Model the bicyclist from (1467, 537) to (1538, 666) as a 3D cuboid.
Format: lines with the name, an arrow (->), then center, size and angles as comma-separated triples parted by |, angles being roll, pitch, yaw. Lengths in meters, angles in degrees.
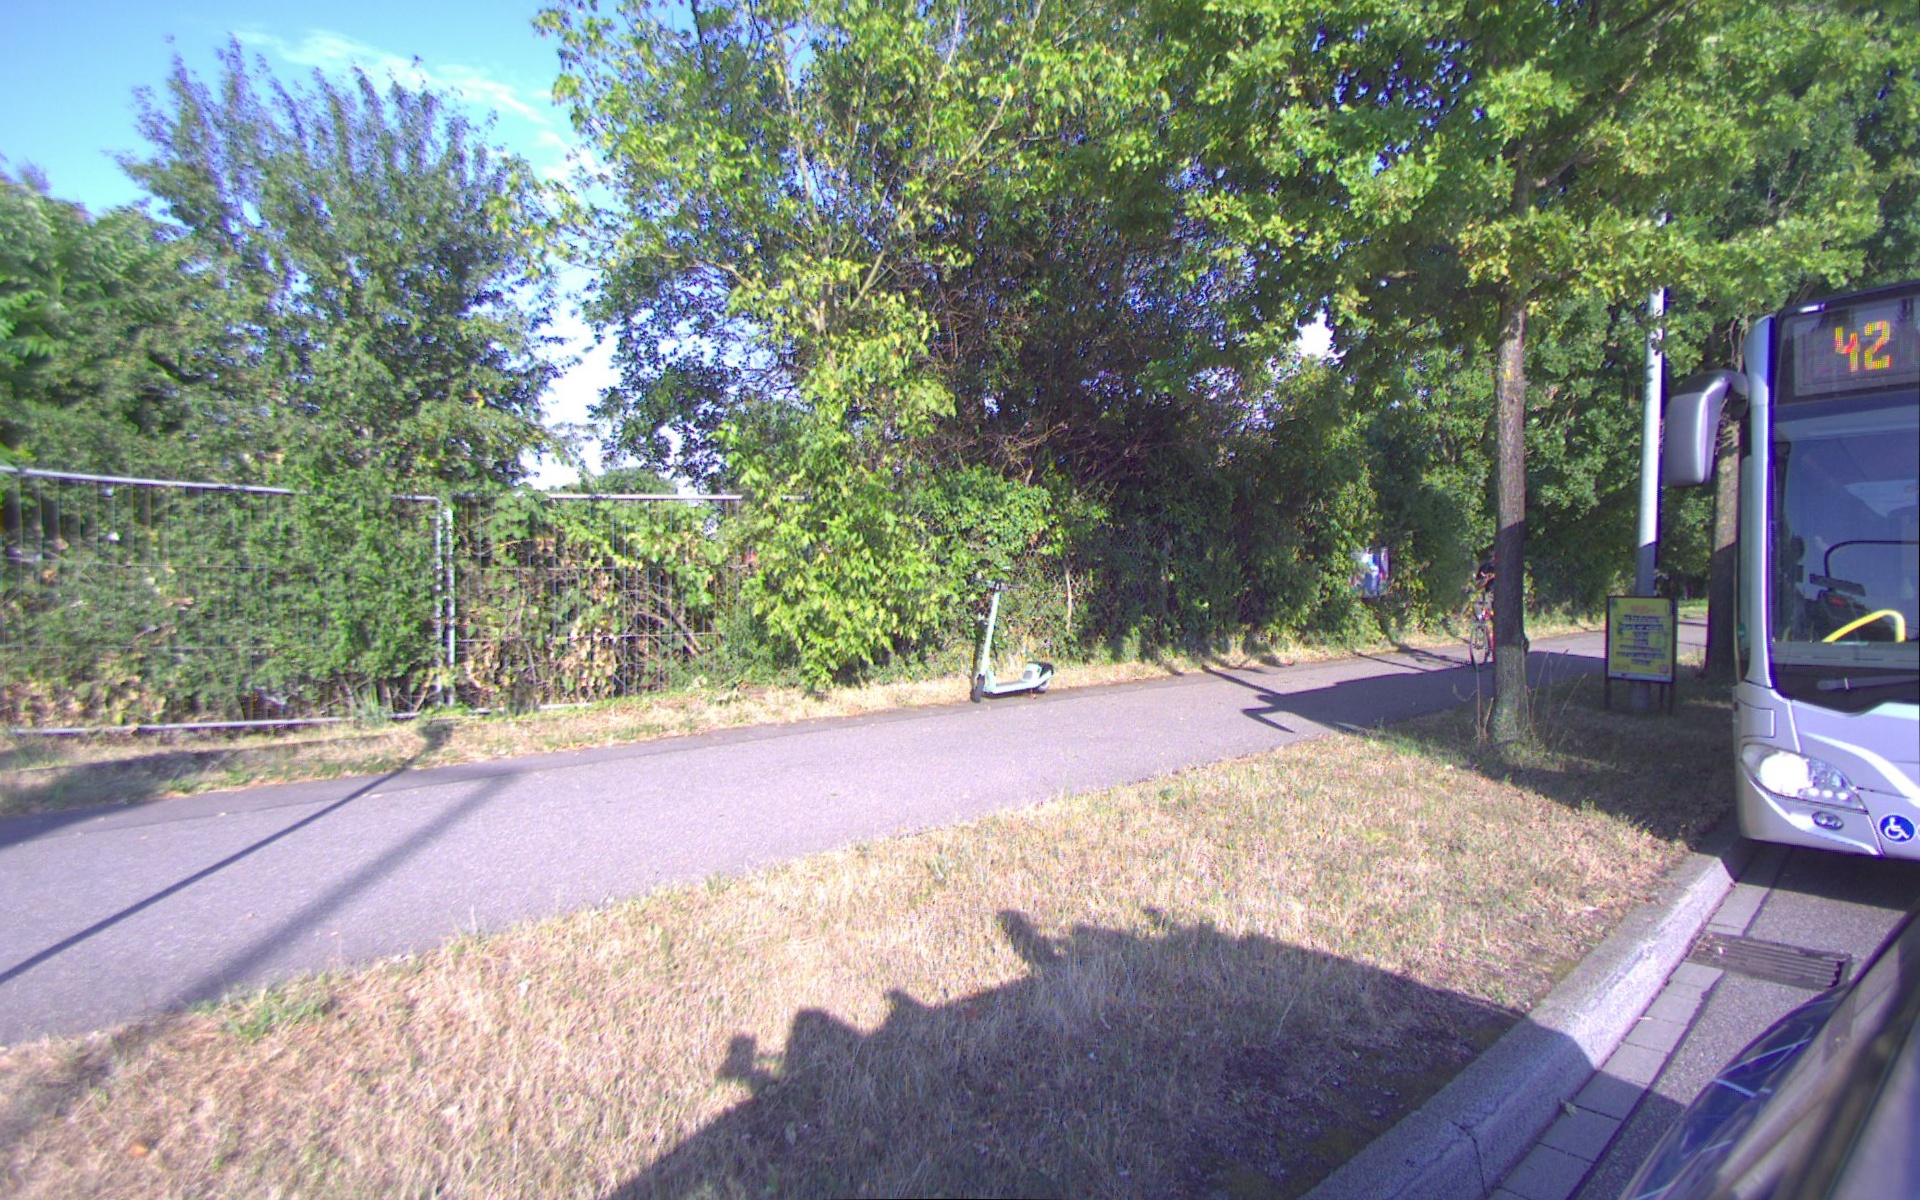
bicyclist -> 8.139, 0.006, 15.190 | 0.816, 1.852, 0.620 | -1, 4, -43

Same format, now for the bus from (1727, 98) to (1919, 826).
bus -> 8.490, -0.608, 8.019 | 2.588, 3.081, 11.535 | 1, 1, 43

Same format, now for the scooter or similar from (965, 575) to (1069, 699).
scooter or similar -> 0.567, 0.341, 9.783 | 1.076, 1.139, 0.249 | 0, 4, -41

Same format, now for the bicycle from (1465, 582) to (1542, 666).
bicycle -> 8.174, 0.343, 15.186 | 1.860, 1.172, 0.415 | 1, 3, -45
